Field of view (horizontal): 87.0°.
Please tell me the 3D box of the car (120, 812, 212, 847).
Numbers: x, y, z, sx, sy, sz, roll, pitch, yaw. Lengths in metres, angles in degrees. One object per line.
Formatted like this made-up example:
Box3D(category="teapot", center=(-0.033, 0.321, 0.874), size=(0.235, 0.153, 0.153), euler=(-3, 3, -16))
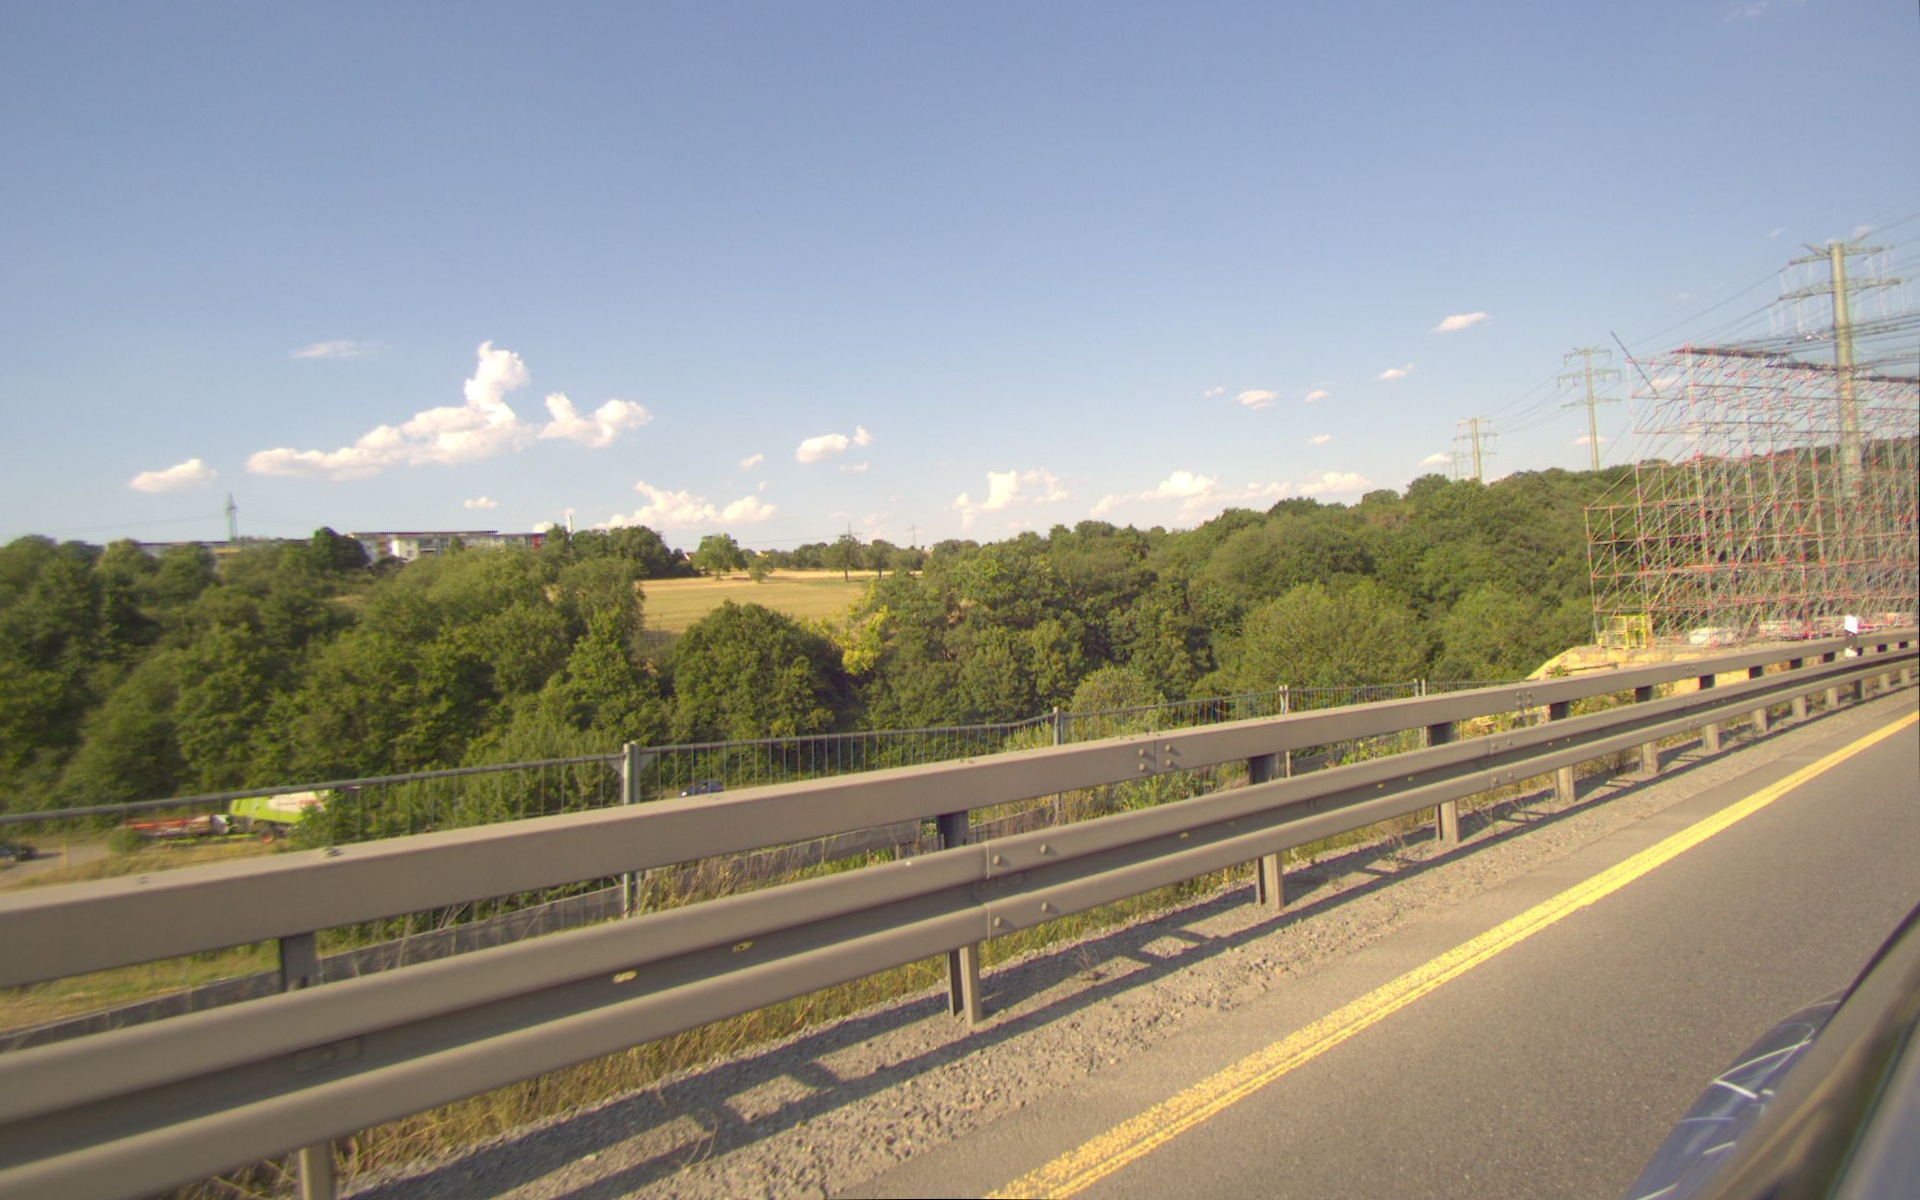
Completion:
Box3D(category="car", center=(-57.936, 16.763, 73.904), size=(5.023, 1.858, 1.711), euler=(0, 1, -14))
